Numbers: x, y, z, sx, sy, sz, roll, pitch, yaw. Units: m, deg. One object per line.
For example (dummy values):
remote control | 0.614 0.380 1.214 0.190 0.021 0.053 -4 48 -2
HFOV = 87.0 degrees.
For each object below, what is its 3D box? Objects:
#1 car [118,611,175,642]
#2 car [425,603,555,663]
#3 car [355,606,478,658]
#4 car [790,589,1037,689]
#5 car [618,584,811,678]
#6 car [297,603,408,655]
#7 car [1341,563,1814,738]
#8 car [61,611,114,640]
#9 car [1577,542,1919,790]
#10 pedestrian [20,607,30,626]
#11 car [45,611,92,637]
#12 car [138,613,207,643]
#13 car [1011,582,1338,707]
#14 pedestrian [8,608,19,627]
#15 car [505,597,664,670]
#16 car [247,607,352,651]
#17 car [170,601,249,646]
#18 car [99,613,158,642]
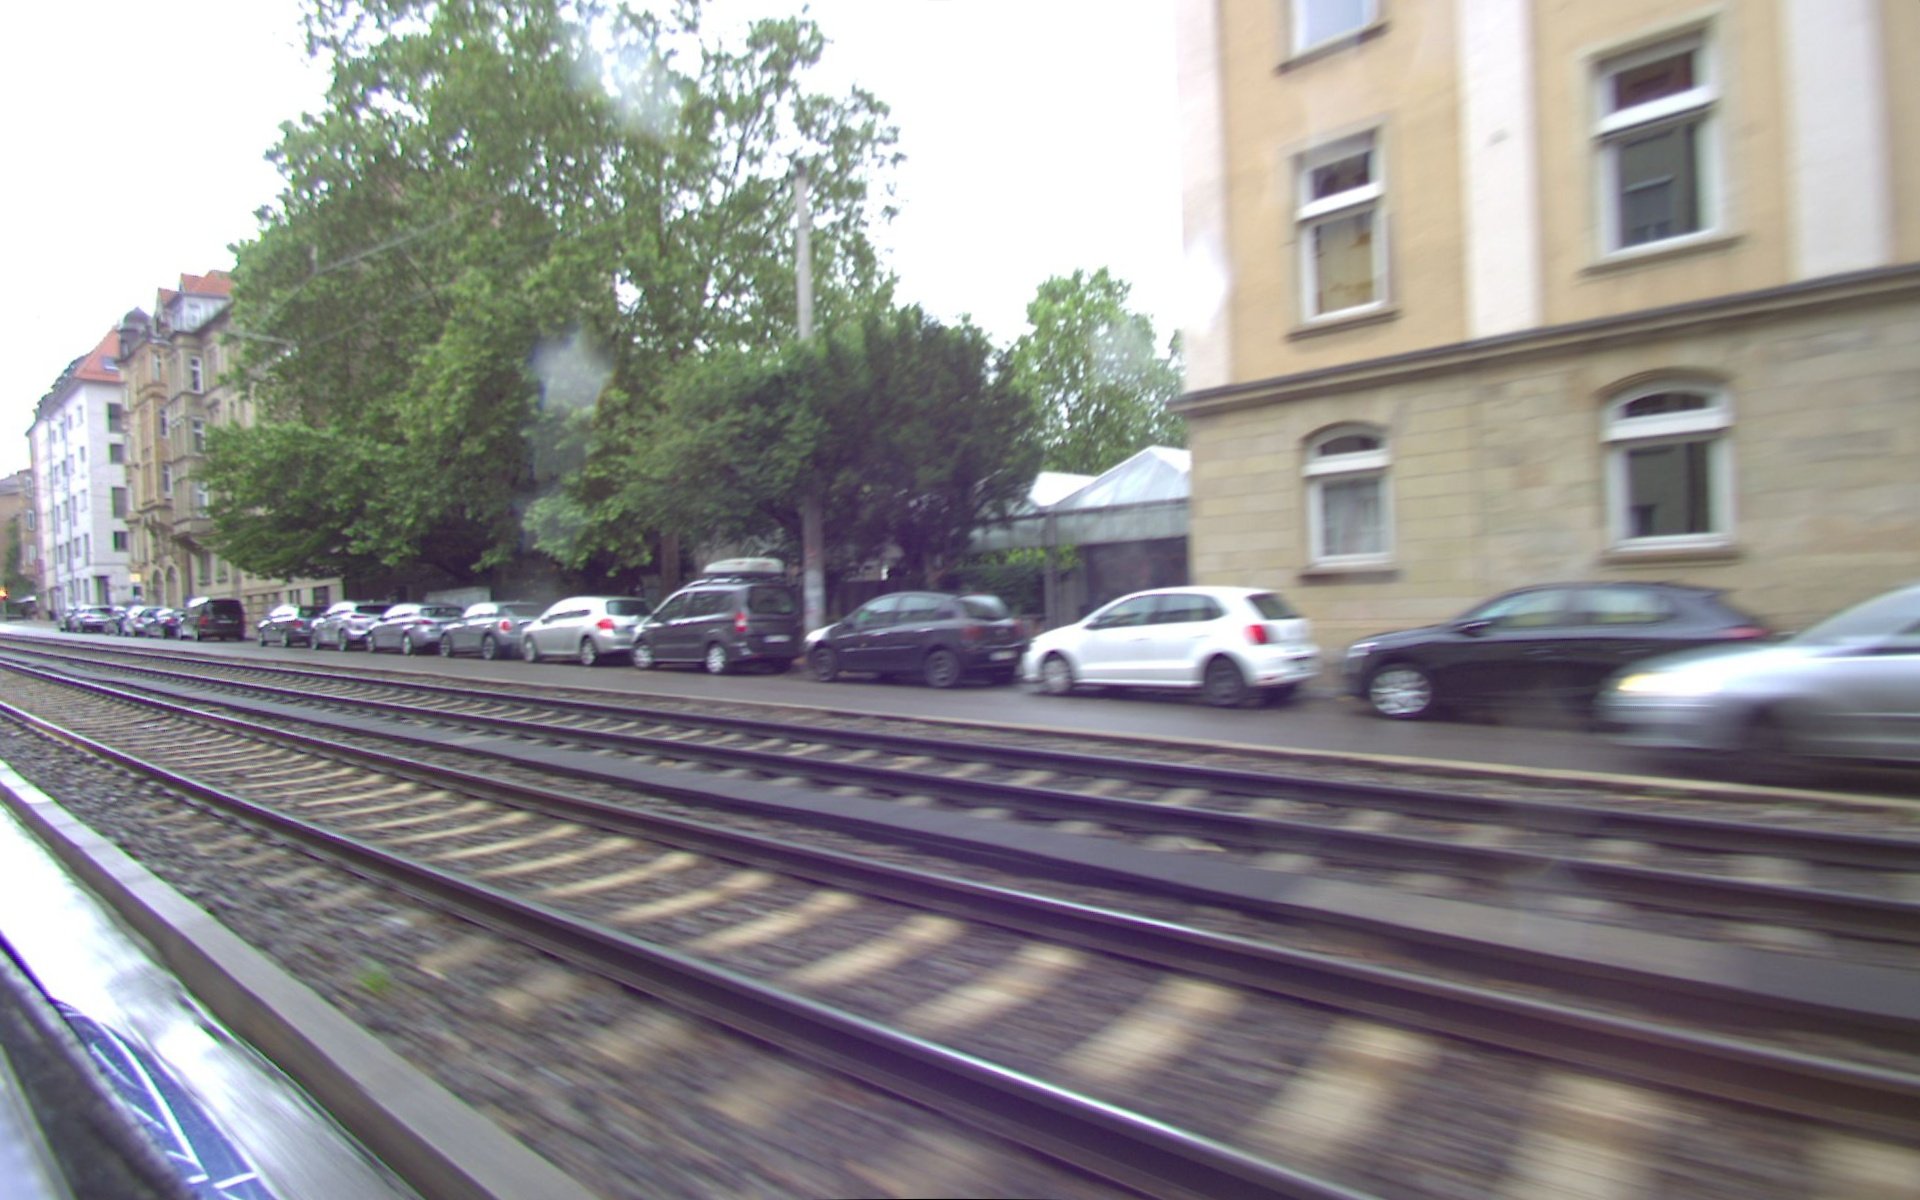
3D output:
car | -42.262 1.364 52.555 3.853 1.535 1.677 -1 -1 42
car | -12.146 0.826 26.054 3.950 1.424 1.523 -1 -2 40
car | -15.781 0.904 29.295 4.150 1.424 1.736 -1 -2 40
car | -0.838 0.596 16.327 4.009 1.424 1.657 -1 -2 42
car | -4.837 0.587 19.682 4.069 1.655 1.560 -1 -2 40
car | -19.572 0.921 32.538 4.540 1.548 1.736 -1 -2 41
car | 6.072 0.449 10.208 3.850 1.440 1.598 -2 -1 41
car | -53.844 1.542 62.434 4.311 1.665 1.840 -1 0 40
car | 6.812 0.381 6.622 4.623 1.516 1.801 -1 0 35
pedestrian | -89.914 1.586 97.311 0.658 1.731 0.595 -1 3 44
car | -57.607 1.551 65.387 4.429 1.614 1.838 -1 -1 43
car | -37.875 1.331 48.633 4.266 1.409 1.744 -1 -1 40
car | 2.668 0.537 13.201 3.986 1.401 1.484 -1 -2 42
pedestrian | -90.486 1.649 96.765 0.746 1.731 0.595 -1 3 44
car | -8.524 0.730 22.841 4.151 1.517 1.523 -1 -2 40
car | -23.471 1.008 35.921 4.546 1.475 1.831 -1 -2 39
car | -32.889 1.024 44.278 4.816 1.861 1.782 -1 -1 41
car | -46.085 1.495 56.054 4.167 1.519 1.851 -1 -1 41
